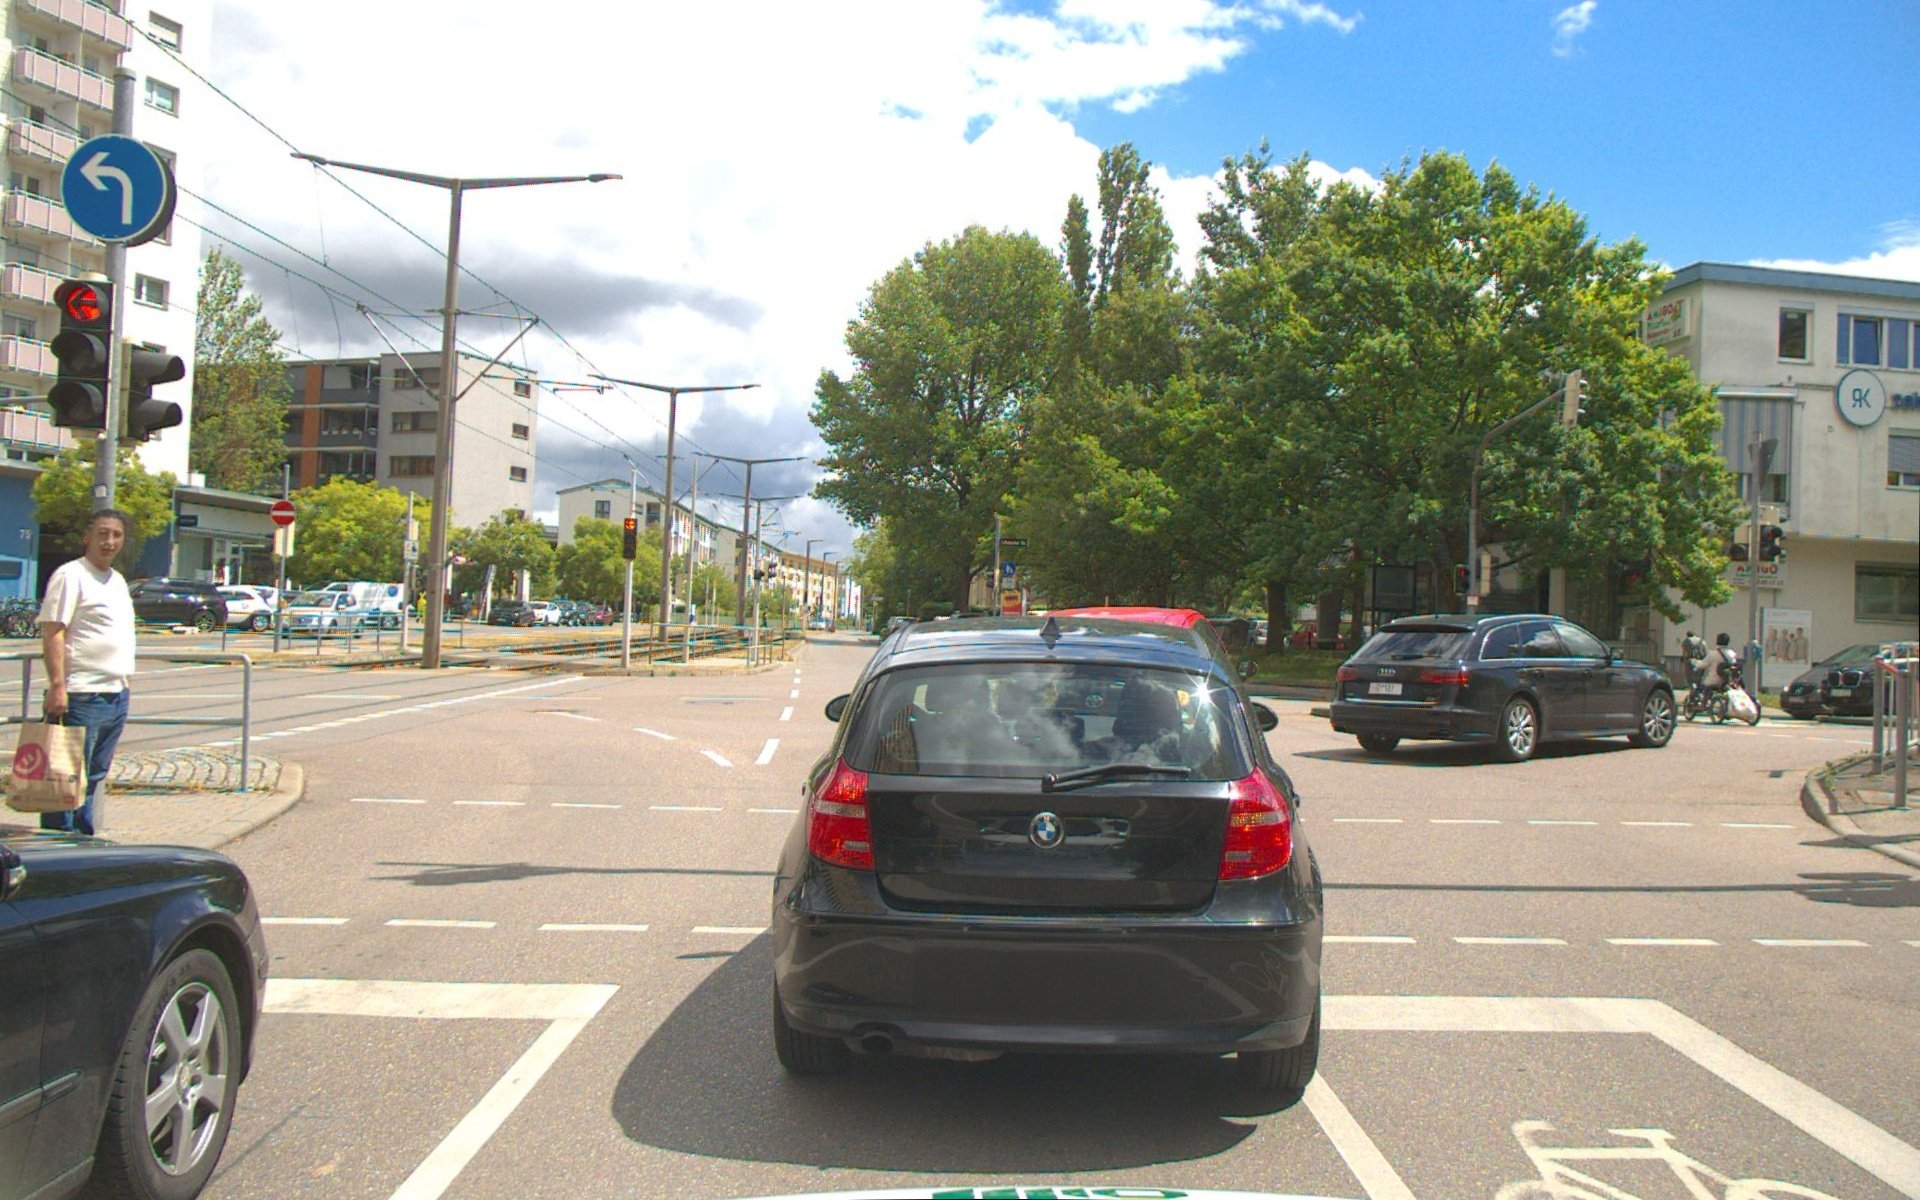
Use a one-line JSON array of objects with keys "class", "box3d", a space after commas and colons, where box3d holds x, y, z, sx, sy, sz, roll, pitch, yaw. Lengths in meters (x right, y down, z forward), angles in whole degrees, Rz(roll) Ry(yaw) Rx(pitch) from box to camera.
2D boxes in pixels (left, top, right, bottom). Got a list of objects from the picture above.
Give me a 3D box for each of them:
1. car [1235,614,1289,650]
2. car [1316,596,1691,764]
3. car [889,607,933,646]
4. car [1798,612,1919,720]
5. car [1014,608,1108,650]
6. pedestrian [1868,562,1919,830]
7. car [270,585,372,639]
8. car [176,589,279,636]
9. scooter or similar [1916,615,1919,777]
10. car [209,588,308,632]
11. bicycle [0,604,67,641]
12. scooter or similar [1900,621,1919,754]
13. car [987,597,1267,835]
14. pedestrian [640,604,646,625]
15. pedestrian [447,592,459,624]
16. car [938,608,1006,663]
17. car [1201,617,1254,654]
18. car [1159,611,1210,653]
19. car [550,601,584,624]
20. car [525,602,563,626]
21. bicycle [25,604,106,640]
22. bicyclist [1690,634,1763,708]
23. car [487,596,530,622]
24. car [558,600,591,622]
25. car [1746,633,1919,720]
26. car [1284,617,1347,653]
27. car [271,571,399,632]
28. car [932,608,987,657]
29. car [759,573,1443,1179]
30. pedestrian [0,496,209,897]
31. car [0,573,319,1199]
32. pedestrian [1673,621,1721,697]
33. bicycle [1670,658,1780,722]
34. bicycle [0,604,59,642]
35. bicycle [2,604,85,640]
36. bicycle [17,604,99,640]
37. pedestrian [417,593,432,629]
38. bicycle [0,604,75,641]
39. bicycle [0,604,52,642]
[{"class": "car", "box3d": [14.414, 1.506, 79.139, 1.598, 1.623, 3.997, 1, 0, -4]}, {"class": "car", "box3d": [5.976, 0.788, 17.913, 4.484, 1.581, 1.969, 1, -1, -43]}, {"class": "car", "box3d": [-2.253, 1.215, 77.063, 1.953, 1.713, 3.999, 1, 0, -1]}, {"class": "car", "box3d": [17.163, 1.140, 28.560, 4.472, 1.747, 1.997, 1, 0, -8]}, {"class": "car", "box3d": [4.641, 1.335, 75.772, 3.933, 1.855, 1.766, 1, 0, -23]}, {"class": "pedestrian", "box3d": [6.580, 0.611, 10.822, 0.932, 1.703, 0.871, 0, 0, 14]}, {"class": "car", "box3d": [-21.405, 0.382, 55.568, 1.897, 1.722, 3.872, 1, 0, -1]}, {"class": "car", "box3d": [-26.606, 0.455, 60.043, 4.144, 1.597, 1.949, 1, 0, 43]}, {"class": "scooter or similar", "box3d": [8.398, 0.793, 13.121, 1.315, 1.299, 0.462, 1, 1, 6]}, {"class": "car", "box3d": [-26.819, 0.363, 63.203, 4.144, 1.564, 1.949, 1, 0, 43]}, {"class": "bicycle", "box3d": [-24.676, 0.592, 43.624, 1.909, 0.951, 0.494, 1, -1, -7]}, {"class": "scooter or similar", "box3d": [9.207, 0.817, 14.939, 1.338, 1.176, 0.539, 3, 0, -26]}, {"class": "car", "box3d": [1.344, 0.738, 12.186, 1.509, 1.466, 3.198, 1, 0, 15]}, {"class": "pedestrian", "box3d": [-26.333, 1.194, 137.377, 0.444, 1.665, 0.480, 1, 0, -3]}, {"class": "pedestrian", "box3d": [-28.269, 0.448, 92.241, 0.537, 1.746, 0.404, 1, 0, -11]}, {"class": "car", "box3d": [0.372, 1.152, 54.204, 2.108, 1.713, 3.999, 1, -1, -1]}, {"class": "car", "box3d": [12.572, 1.662, 77.874, 1.598, 1.600, 4.029, 1, 0, -4]}, {"class": "car", "box3d": [10.427, 1.484, 77.005, 1.598, 1.842, 4.029, 1, 0, -4]}, {"class": "car", "box3d": [-25.455, 0.775, 107.193, 1.728, 1.419, 3.994, 1, 0, -7]}, {"class": "car", "box3d": [-25.258, 0.839, 100.619, 1.728, 1.419, 3.994, 1, 0, -7]}, {"class": "bicycle", "box3d": [-24.751, 0.601, 45.787, 1.909, 0.951, 0.494, 1, -1, -7]}, {"class": "bicyclist", "box3d": [11.384, 1.049, 24.581, 0.775, 1.040, 0.636, 2, 0, -1]}, {"class": "car", "box3d": [-25.373, 0.499, 93.055, 1.728, 1.419, 3.994, 1, 0, -7]}, {"class": "car", "box3d": [-25.997, 0.753, 111.751, 1.728, 1.419, 3.994, 1, 0, -7]}, {"class": "car", "box3d": [17.992, 1.511, 32.901, 3.838, 1.583, 1.994, 1, 0, -12]}, {"class": "car", "box3d": [17.071, 1.648, 79.603, 1.698, 1.623, 3.993, 1, 0, -8]}, {"class": "car", "box3d": [-27.091, 0.030, 71.551, 2.810, 2.522, 6.614, 1, 0, -44]}, {"class": "car", "box3d": [-0.041, 1.209, 61.645, 1.953, 1.713, 3.999, 1, -1, -1]}, {"class": "car", "box3d": [0.342, 0.701, 6.226, 1.717, 1.513, 3.999, 1, 0, -1]}, {"class": "pedestrian", "box3d": [-4.239, 0.443, 8.002, 0.851, 1.839, 0.741, 1, 0, -5]}, {"class": "car", "box3d": [-2.597, 0.675, 2.241, 1.693, 1.487, 4.543, 1, 0, -1]}, {"class": "pedestrian", "box3d": [16.797, 1.331, 37.725, 0.752, 1.672, 0.908, 1, 0, 10]}, {"class": "bicycle", "box3d": [11.382, 1.322, 24.670, 0.775, 0.833, 1.807, 2, 0, -1]}, {"class": "bicycle", "box3d": [-24.630, 0.590, 43.119, 1.909, 0.951, 0.494, 1, -1, -7]}, {"class": "bicycle", "box3d": [-24.731, 0.596, 44.645, 1.909, 0.951, 0.494, 1, -1, -7]}, {"class": "bicycle", "box3d": [-24.694, 0.600, 45.299, 1.909, 0.951, 0.494, 1, -1, -7]}, {"class": "pedestrian", "box3d": [-26.250, 0.546, 81.073, 0.537, 1.746, 0.667, 1, 0, -10]}, {"class": "bicycle", "box3d": [-24.720, 0.593, 44.099, 1.909, 0.951, 0.494, 1, -1, -7]}, {"class": "bicycle", "box3d": [-24.540, 0.590, 42.659, 1.909, 0.951, 0.494, 1, -1, -7]}]
